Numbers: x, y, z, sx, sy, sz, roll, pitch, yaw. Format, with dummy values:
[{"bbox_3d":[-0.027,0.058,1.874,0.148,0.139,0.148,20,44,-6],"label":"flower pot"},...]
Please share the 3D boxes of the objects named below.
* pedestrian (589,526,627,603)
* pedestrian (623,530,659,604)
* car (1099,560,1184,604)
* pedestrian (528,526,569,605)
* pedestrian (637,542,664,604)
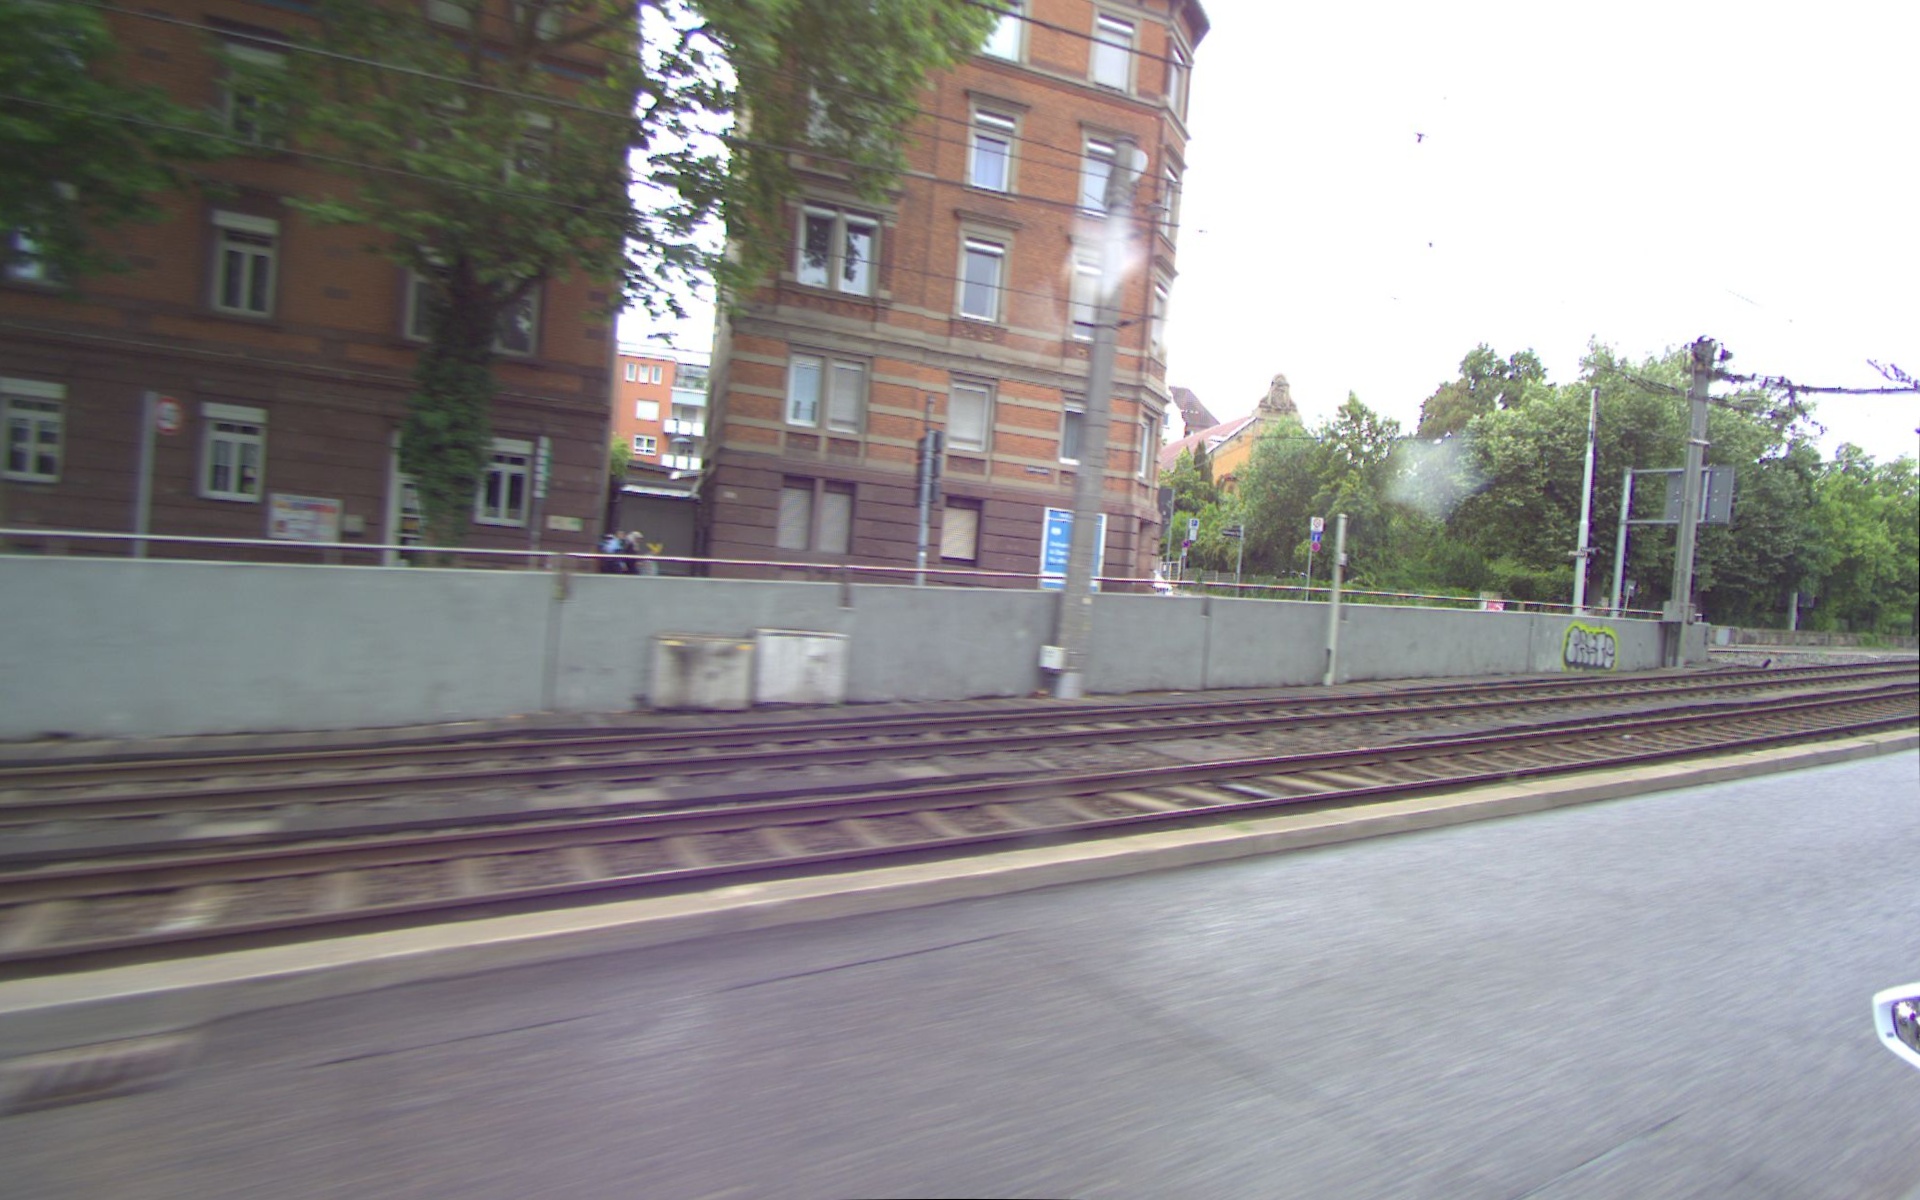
[{"bbox_3d":[-7.765,-0.768,22.195,0.710,1.646,0.593,1,0,-14],"label":"pedestrian"},{"bbox_3d":[-7.320,-0.745,23.058,0.710,1.646,0.593,1,0,-14],"label":"pedestrian"},{"bbox_3d":[7.767,-0.826,43.445,1.874,1.522,4.345,6,2,-15],"label":"car"},{"bbox_3d":[-8.763,-0.714,21.398,0.710,1.646,0.593,1,0,-14],"label":"pedestrian"},{"bbox_3d":[-6.779,-0.583,22.014,0.498,1.352,0.333,1,0,-29],"label":"pedestrian"}]
